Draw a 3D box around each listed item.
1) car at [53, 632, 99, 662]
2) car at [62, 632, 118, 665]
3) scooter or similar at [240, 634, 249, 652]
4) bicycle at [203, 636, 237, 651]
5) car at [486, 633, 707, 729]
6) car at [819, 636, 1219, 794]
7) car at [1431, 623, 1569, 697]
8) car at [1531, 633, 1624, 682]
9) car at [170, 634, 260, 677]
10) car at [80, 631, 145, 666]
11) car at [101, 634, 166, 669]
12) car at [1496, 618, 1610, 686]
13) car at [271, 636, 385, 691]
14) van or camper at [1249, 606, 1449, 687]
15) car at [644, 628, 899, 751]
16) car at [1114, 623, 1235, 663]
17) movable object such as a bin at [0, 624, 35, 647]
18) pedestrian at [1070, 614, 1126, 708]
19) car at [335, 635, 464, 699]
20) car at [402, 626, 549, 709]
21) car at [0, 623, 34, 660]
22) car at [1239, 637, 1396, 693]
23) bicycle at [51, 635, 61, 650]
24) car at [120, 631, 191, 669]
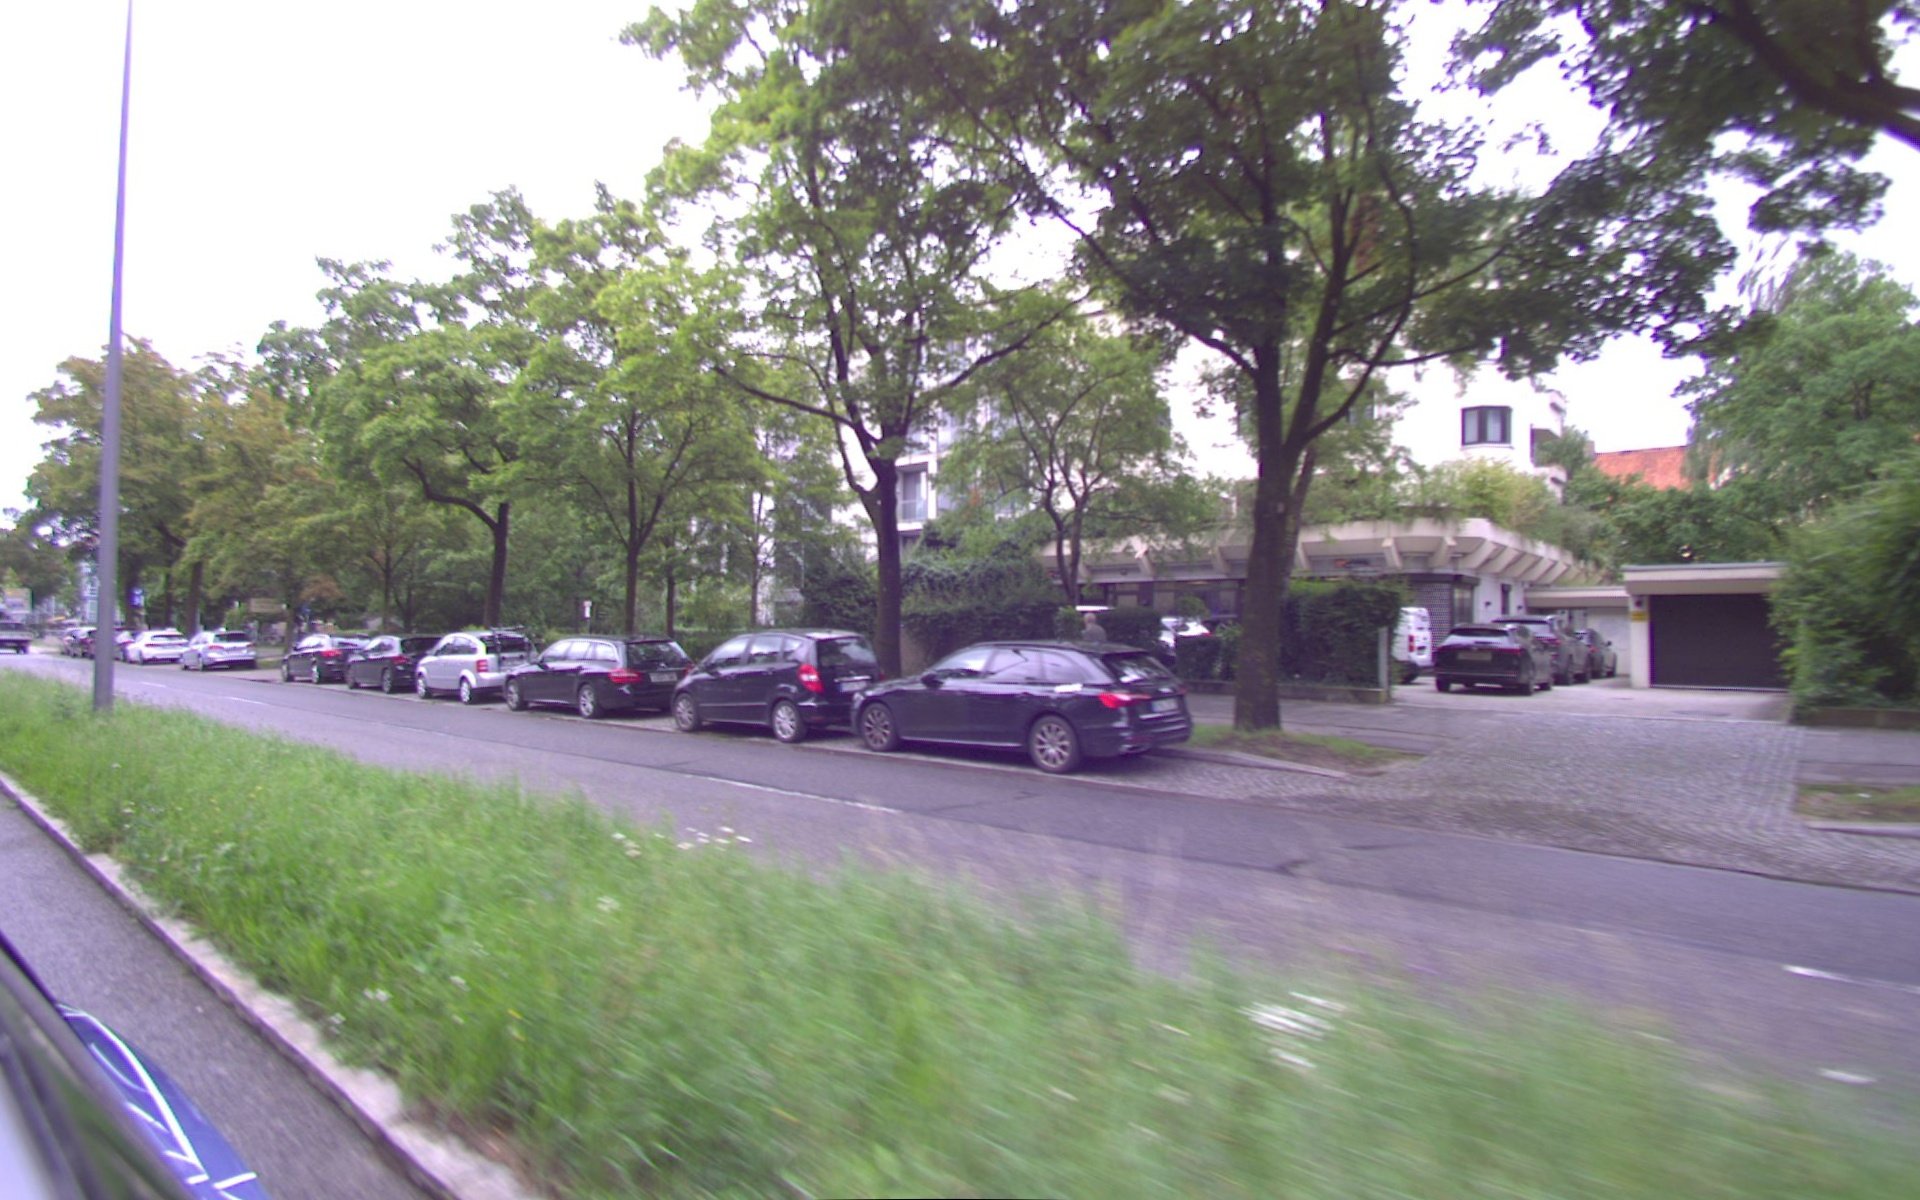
[{"bbox_3d":[-51.605,2.715,59.057,3.819,1.626,1.629,-2,-2,43],"label":"car"},{"bbox_3d":[-47.589,2.623,55.328,4.682,1.656,1.720,-2,-1,42],"label":"car"},{"bbox_3d":[-45.546,2.711,64.404,0.429,1.135,1.292,2,-3,-36],"label":"scooter or similar"},{"bbox_3d":[-50.000,2.931,68.387,0.436,1.014,1.744,-2,-3,40],"label":"bicycle"},{"bbox_3d":[-7.063,1.447,19.364,5.031,1.536,1.698,-2,0,41],"label":"car"},{"bbox_3d":[0.528,1.250,12.570,4.946,1.525,1.741,-2,-1,42],"label":"car"},{"bbox_3d":[11.579,1.227,21.580,1.861,1.429,3.937,-2,-3,39],"label":"car"},{"bbox_3d":[17.817,1.597,29.129,1.635,1.311,3.935,-2,-3,41],"label":"car"},{"bbox_3d":[-28.353,2.054,38.436,4.820,1.459,1.718,-2,0,41],"label":"car"},{"bbox_3d":[-43.102,2.447,51.457,4.602,1.664,1.721,-2,-1,40],"label":"car"},{"bbox_3d":[-39.396,2.414,48.193,4.332,1.494,1.720,-2,-1,42],"label":"car"},{"bbox_3d":[15.173,1.289,25.815,1.787,1.603,3.935,-2,-3,41],"label":"car"},{"bbox_3d":[-18.412,1.791,29.412,4.360,1.434,1.564,-2,0,41],"label":"car"},{"bbox_3d":[9.872,1.157,25.904,4.430,1.885,1.837,-2,-3,42],"label":"van or camper"},{"bbox_3d":[-3.025,1.272,15.726,4.209,1.609,1.668,-2,-1,42],"label":"car"},{"bbox_3d":[6.192,1.244,29.361,3.126,1.092,1.440,-2,-3,42],"label":"car"},{"bbox_3d":[-83.711,3.160,89.397,3.991,1.968,2.174,-1,-3,35],"label":"movable object such as a bin"},{"bbox_3d":[2.524,1.102,18.520,0.838,1.669,0.609,2,-3,-42],"label":"pedestrian"},{"bbox_3d":[-14.402,1.646,25.908,4.191,1.434,1.608,-2,0,42],"label":"car"},{"bbox_3d":[-11.015,1.458,22.901,3.866,1.660,1.608,-2,0,42],"label":"car"},{"bbox_3d":[-58.522,2.515,61.771,5.796,2.211,2.186,-2,-4,41],"label":"car"},{"bbox_3d":[8.262,1.463,23.489,3.126,1.209,1.440,-2,-3,42],"label":"car"},{"bbox_3d":[-70.831,3.333,79.260,1.954,1.086,0.403,-2,1,44],"label":"bicycle"},{"bbox_3d":[-35.601,2.183,44.760,4.473,1.541,1.720,-2,-1,42],"label":"car"}]
